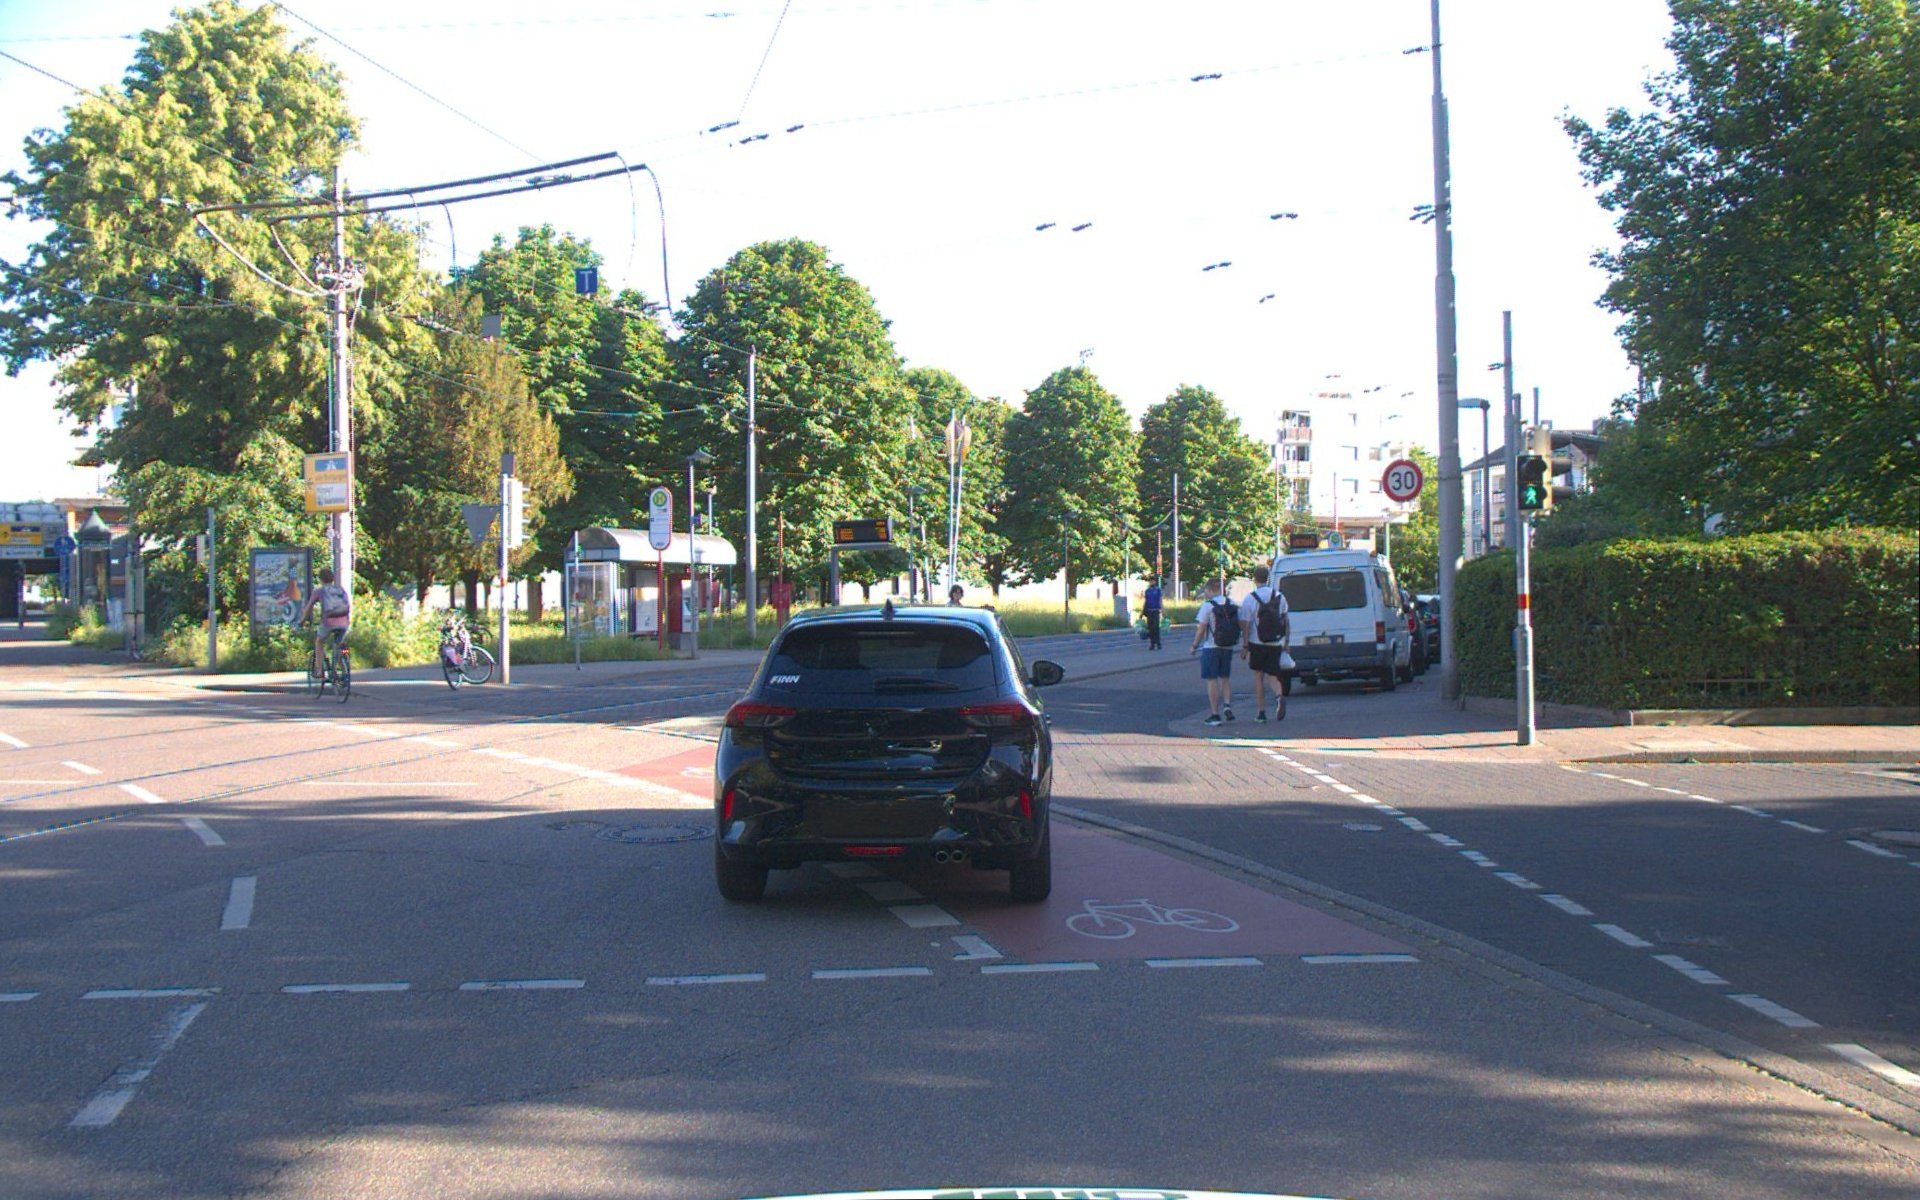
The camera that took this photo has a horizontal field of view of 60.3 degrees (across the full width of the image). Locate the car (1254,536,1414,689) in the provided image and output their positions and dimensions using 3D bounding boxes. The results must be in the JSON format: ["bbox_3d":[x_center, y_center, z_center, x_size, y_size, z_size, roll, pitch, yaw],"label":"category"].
[{"bbox_3d":[6.257,0.218,27.333,2.046,2.317,4.306,0,-1,20],"label":"car"}]

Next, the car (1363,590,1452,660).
[{"bbox_3d":[10.243,0.533,37.727,1.762,1.502,3.942,-1,0,18],"label":"car"}]

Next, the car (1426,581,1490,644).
[{"bbox_3d":[16.304,0.394,54.069,1.763,1.961,3.940,-1,0,20],"label":"car"}]

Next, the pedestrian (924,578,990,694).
[{"bbox_3d":[-0.051,0.536,25.136,0.714,1.722,0.697,-1,0,39],"label":"pedestrian"}]

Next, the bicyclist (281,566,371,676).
[{"bbox_3d":[-9.233,0.295,24.059,0.835,1.536,1.349,-1,0,-39],"label":"bicyclist"}]

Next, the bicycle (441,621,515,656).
[{"bbox_3d":[-13.276,1.064,45.610,1.837,0.922,0.660,-1,0,3],"label":"bicycle"}]

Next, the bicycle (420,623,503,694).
[{"bbox_3d":[-8.076,0.931,26.881,0.808,1.078,1.882,-1,0,-1],"label":"bicycle"}]

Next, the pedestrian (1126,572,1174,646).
[{"bbox_3d":[4.737,0.221,41.158,0.939,1.824,0.995,-1,0,22],"label":"pedestrian"}]

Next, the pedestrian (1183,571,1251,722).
[{"bbox_3d":[3.172,0.567,20.446,0.685,1.823,0.617,-1,0,-4],"label":"pedestrian"}]

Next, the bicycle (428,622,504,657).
[{"bbox_3d":[-13.364,1.072,44.731,1.837,0.922,0.660,-1,0,3],"label":"bicycle"}]

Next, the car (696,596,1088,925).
[{"bbox_3d":[-0.317,0.724,9.488,1.763,1.466,3.939,-1,0,0],"label":"car"}]

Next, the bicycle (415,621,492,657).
[{"bbox_3d":[-13.393,1.036,43.743,1.837,0.922,0.660,-1,0,3],"label":"bicycle"}]

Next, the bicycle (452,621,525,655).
[{"bbox_3d":[-13.272,1.067,46.583,1.837,0.922,0.660,-1,0,3],"label":"bicycle"}]

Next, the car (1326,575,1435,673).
[{"bbox_3d":[8.321,0.437,32.515,1.763,1.794,3.892,-1,0,19],"label":"car"}]

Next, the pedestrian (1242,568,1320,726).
[{"bbox_3d":[3.917,0.559,20.195,0.691,1.878,0.698,-1,0,36],"label":"pedestrian"}]

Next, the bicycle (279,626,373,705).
[{"bbox_3d":[-9.262,0.926,24.129,0.663,1.078,2.052,-1,0,-39],"label":"bicycle"}]
